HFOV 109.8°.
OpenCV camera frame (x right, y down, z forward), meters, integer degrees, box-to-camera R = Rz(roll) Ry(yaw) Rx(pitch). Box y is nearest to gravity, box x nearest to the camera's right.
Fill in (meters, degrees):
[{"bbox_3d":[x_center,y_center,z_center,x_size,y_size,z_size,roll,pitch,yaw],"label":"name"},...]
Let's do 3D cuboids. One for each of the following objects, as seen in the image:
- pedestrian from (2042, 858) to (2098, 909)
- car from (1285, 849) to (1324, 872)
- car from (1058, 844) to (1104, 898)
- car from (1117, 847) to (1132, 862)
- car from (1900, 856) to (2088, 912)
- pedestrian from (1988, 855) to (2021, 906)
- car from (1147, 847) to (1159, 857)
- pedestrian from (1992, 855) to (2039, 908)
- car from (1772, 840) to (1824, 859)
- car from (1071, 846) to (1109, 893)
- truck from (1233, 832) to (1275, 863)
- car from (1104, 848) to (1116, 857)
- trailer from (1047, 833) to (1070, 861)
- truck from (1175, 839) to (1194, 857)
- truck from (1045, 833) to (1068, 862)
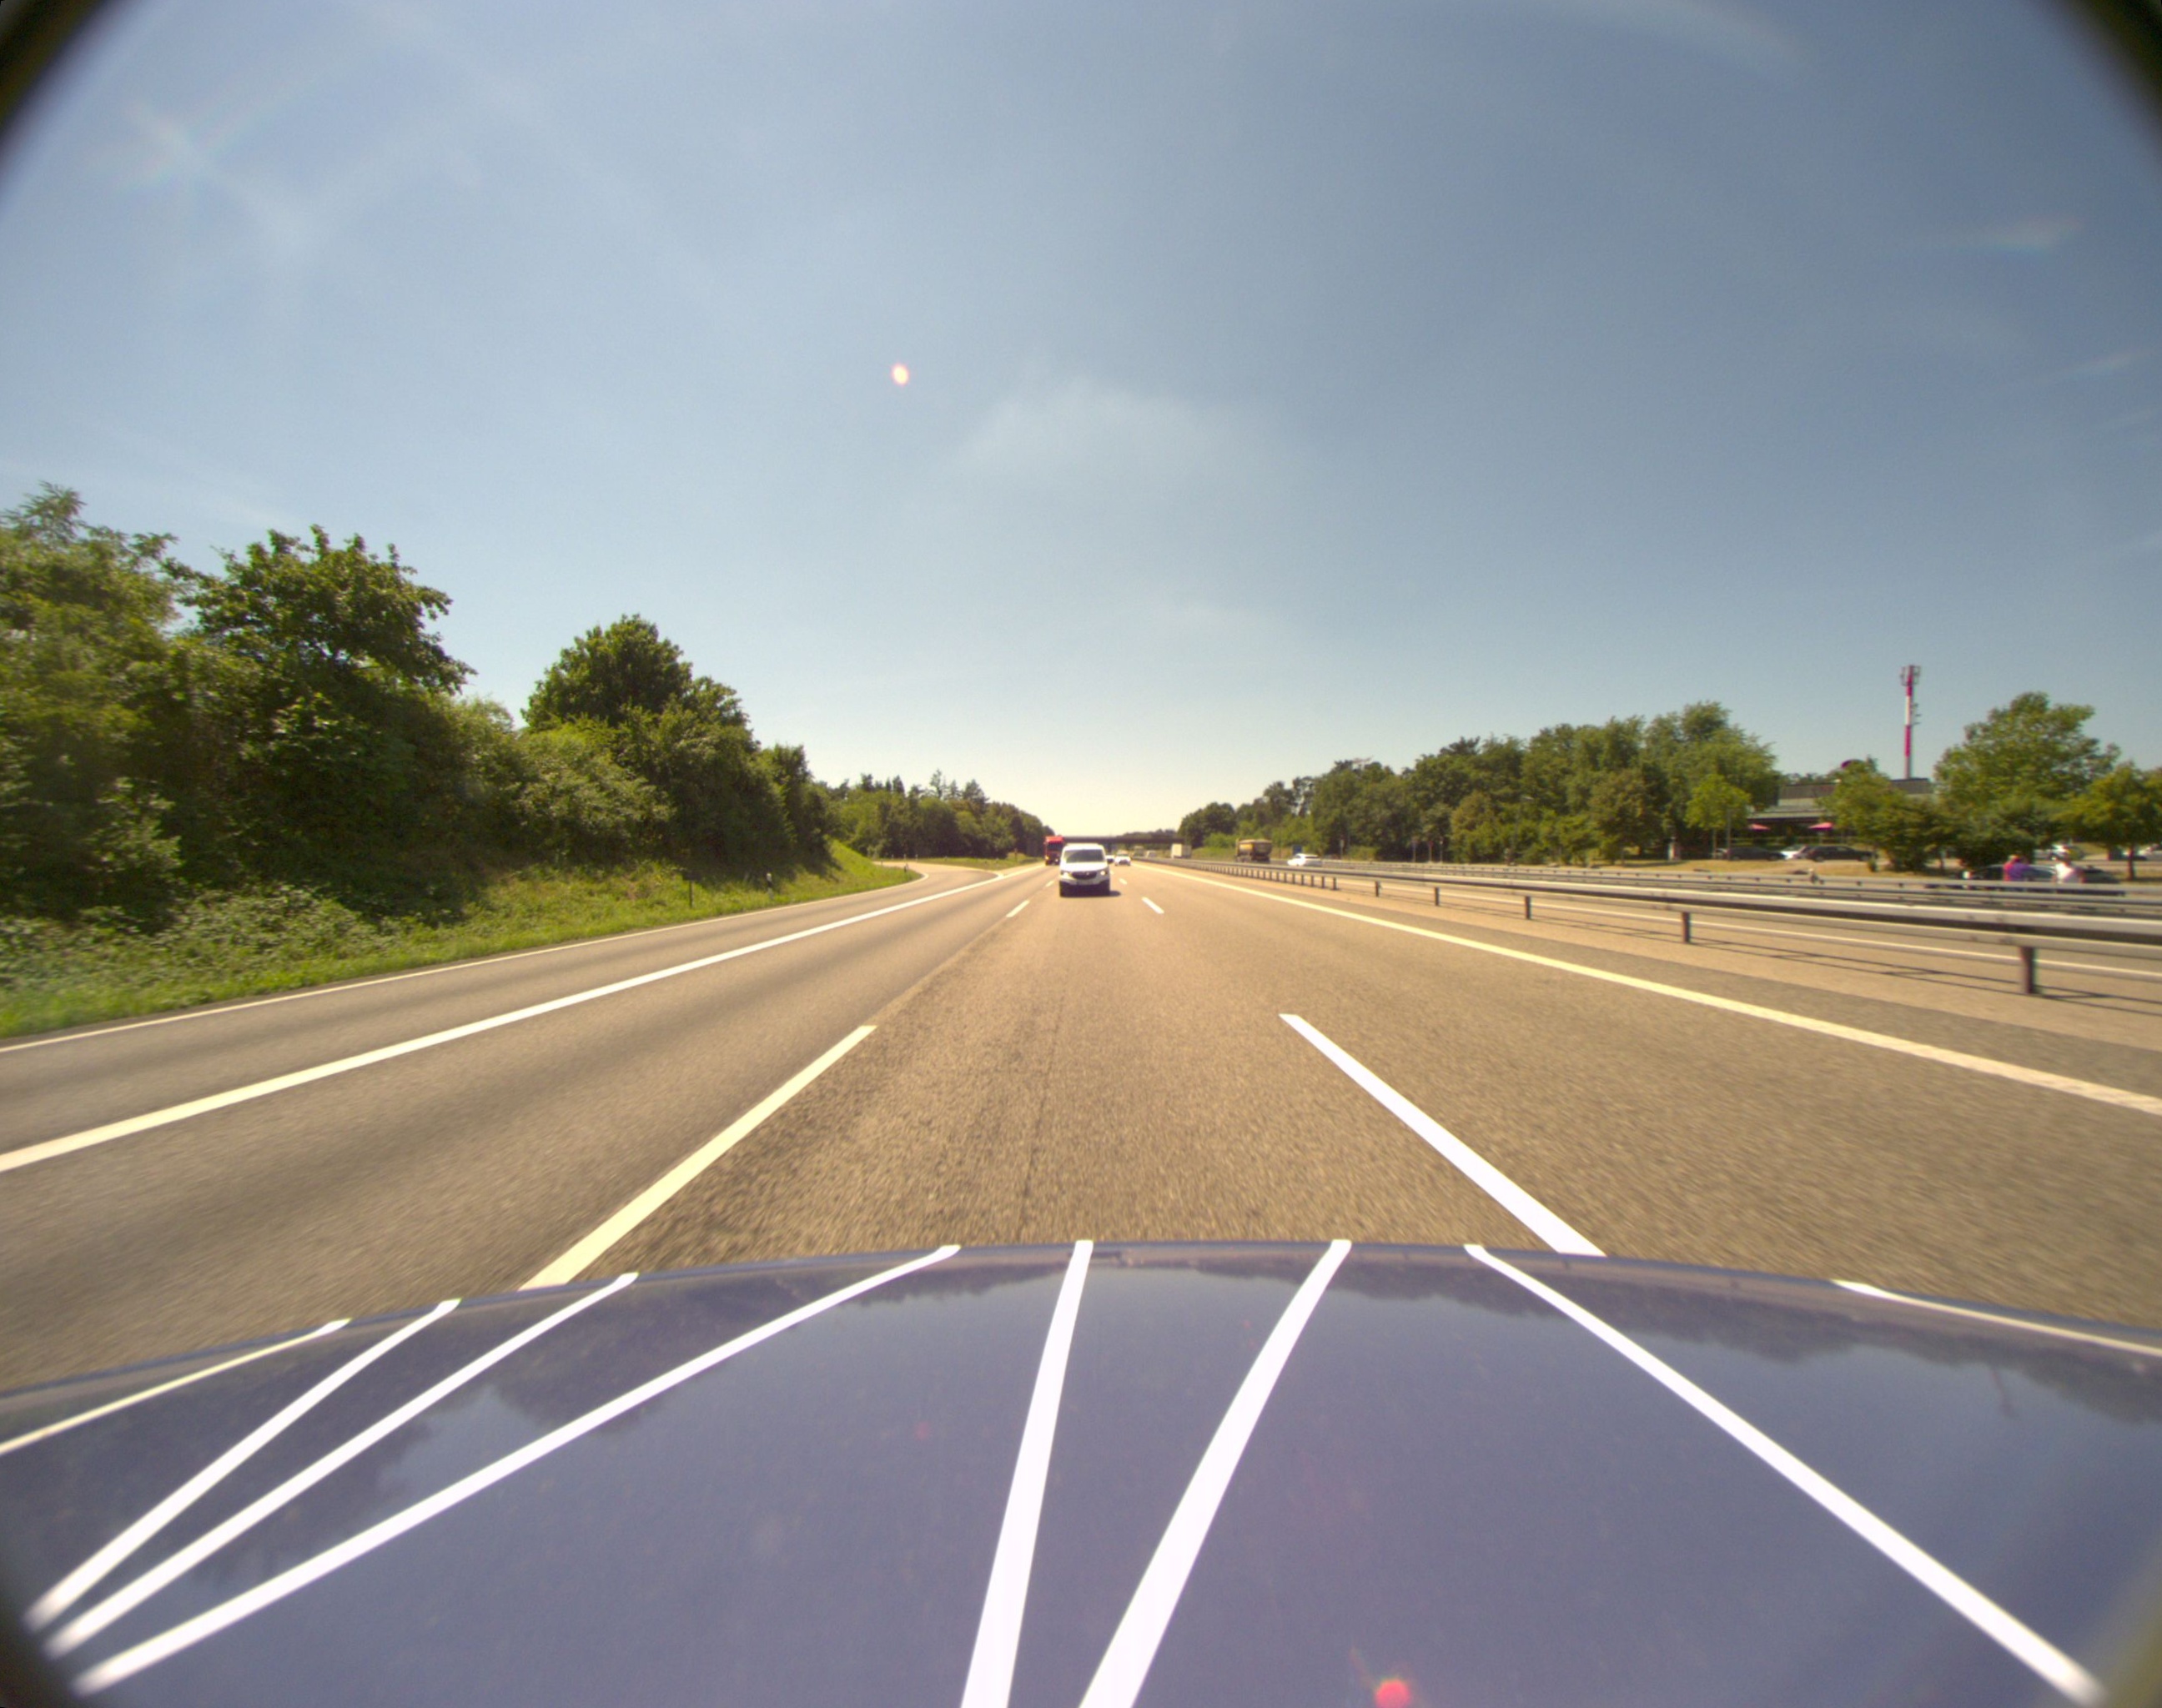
[{"bbox_3d":[30.081,0.885,23.127,0.757,1.509,0.758,-2,1,-7],"label":"pedestrian"},{"bbox_3d":[18.003,0.495,61.311,1.810,1.703,4.508,-2,1,1],"label":"car"},{"bbox_3d":[0.016,0.571,27.652,1.501,1.799,3.394,-2,1,1],"label":"car"},{"bbox_3d":[4.793,0.041,84.030,1.586,1.497,3.793,-2,1,2],"label":"car"},{"bbox_3d":[31.044,0.946,26.033,1.696,1.662,4.000,-2,1,2],"label":"car"},{"bbox_3d":[29.532,0.831,24.301,0.473,1.598,0.500,-2,1,15],"label":"pedestrian"},{"bbox_3d":[15.138,-0.375,159.603,1.971,1.966,3.982,-2,1,1],"label":"car"},{"bbox_3d":[29.191,0.851,23.750,0.645,1.598,0.656,-2,1,12],"label":"pedestrian"},{"bbox_3d":[73.359,-0.442,77.770,4.016,1.762,1.803,-2,1,-11],"label":"car"},{"bbox_3d":[0.359,0.585,31.108,1.413,1.795,3.200,-2,1,1],"label":"car"},{"bbox_3d":[22.655,-0.902,100.075,2.872,3.792,11.489,-2,1,1],"label":"truck"},{"bbox_3d":[4.643,-0.292,121.784,1.775,1.410,3.401,-2,1,2],"label":"car"},{"bbox_3d":[-3.110,-0.965,106.414,2.540,3.656,7.845,-2,1,2],"label":"trailer"},{"bbox_3d":[27.345,-1.667,200.918,3.401,4.387,11.332,-2,1,1],"label":"truck"},{"bbox_3d":[-3.251,-0.876,101.501,2.540,3.656,5.219,-2,1,2],"label":"truck"}]
